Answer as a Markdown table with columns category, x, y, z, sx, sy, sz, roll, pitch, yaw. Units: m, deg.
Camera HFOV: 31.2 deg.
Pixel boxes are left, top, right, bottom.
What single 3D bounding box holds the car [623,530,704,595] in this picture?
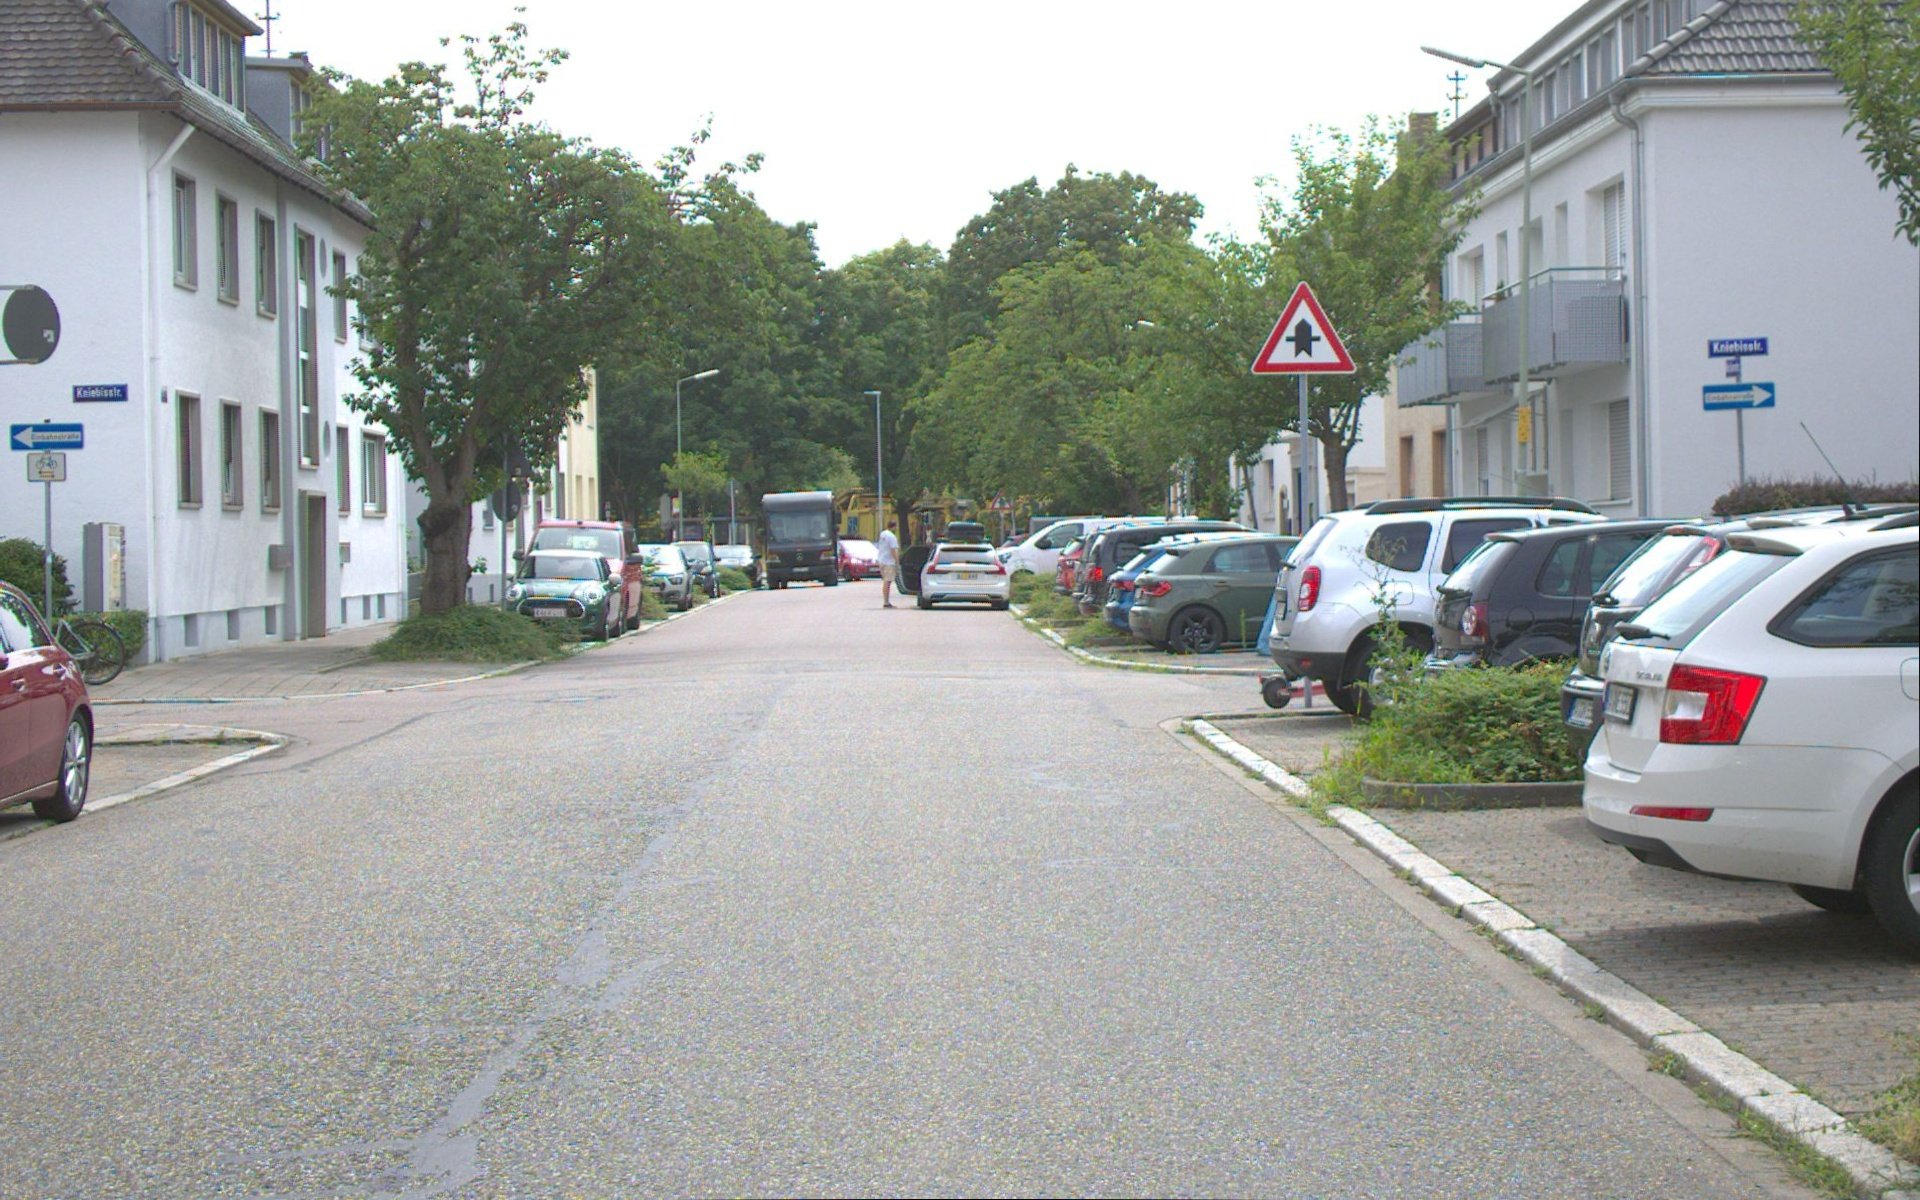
| category | x | y | z | sx | sy | sz | roll | pitch | yaw |
| --- | --- | --- | --- | --- | --- | --- | --- | --- | --- |
| car | -6.809 | -0.877 | 79.241 | 1.651 | 1.372 | 3.722 | -3 | 1 | -3 |

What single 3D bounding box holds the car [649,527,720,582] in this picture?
| category | x | y | z | sx | sy | sz | roll | pitch | yaw |
| --- | --- | --- | --- | --- | --- | --- | --- | --- | --- |
| car | -7.458 | -1.240 | 93.317 | 1.651 | 1.372 | 3.722 | -3 | 1 | -1 |

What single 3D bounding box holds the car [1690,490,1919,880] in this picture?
| category | x | y | z | sx | sy | sz | roll | pitch | yaw |
| --- | --- | --- | --- | --- | --- | --- | --- | --- | --- |
| car | 5.255 | 0.228 | 14.336 | 3.987 | 1.503 | 1.712 | -3 | 1 | 0 |

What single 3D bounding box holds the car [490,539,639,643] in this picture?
| category | x | y | z | sx | sy | sz | roll | pitch | yaw |
| --- | --- | --- | --- | --- | --- | --- | --- | --- | --- |
| car | -6.422 | -0.174 | 56.125 | 1.763 | 1.548 | 3.730 | -3 | 1 | 3 |

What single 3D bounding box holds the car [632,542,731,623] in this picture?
| category | x | y | z | sx | sy | sz | roll | pitch | yaw |
| --- | --- | --- | --- | --- | --- | --- | --- | --- | --- |
| car | -5.430 | -0.369 | 67.273 | 1.651 | 1.456 | 3.552 | -3 | 1 | -1 |

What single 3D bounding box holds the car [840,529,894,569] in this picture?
| category | x | y | z | sx | sy | sz | roll | pitch | yaw |
| --- | --- | --- | --- | --- | --- | --- | --- | --- | --- |
| car | -3.300 | -1.825 | 122.201 | 1.754 | 1.337 | 4.000 | -2 | 1 | 0 |

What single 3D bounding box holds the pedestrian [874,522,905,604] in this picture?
| category | x | y | z | sx | sy | sz | roll | pitch | yaw |
| --- | --- | --- | --- | --- | --- | --- | --- | --- | --- |
| pedestrian | -1.487 | -0.789 | 72.641 | 0.522 | 1.698 | 0.444 | -3 | 1 | 3 |

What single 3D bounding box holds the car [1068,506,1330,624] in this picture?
| category | x | y | z | sx | sy | sz | roll | pitch | yaw |
| --- | --- | --- | --- | --- | --- | --- | --- | --- | --- |
| car | 3.559 | -0.535 | 51.716 | 3.747 | 1.559 | 1.773 | -3 | 1 | 1 |

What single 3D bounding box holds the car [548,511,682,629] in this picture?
| category | x | y | z | sx | sy | sz | roll | pitch | yaw |
| --- | --- | --- | --- | --- | --- | --- | --- | --- | --- |
| car | -6.168 | -0.560 | 61.888 | 1.993 | 2.007 | 4.521 | -1 | 1 | -1 |

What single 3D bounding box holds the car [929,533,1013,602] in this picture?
| category | x | y | z | sx | sy | sz | roll | pitch | yaw |
| --- | --- | --- | --- | --- | --- | --- | --- | --- | --- |
| car | 0.251 | -0.709 | 73.344 | 1.687 | 1.349 | 3.826 | -3 | 1 | 1 |

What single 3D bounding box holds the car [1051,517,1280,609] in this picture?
| category | x | y | z | sx | sy | sz | roll | pitch | yaw |
| --- | --- | --- | --- | --- | --- | --- | --- | --- | --- |
| car | 3.720 | -0.679 | 62.658 | 3.987 | 1.434 | 1.723 | -3 | 1 | 0 |

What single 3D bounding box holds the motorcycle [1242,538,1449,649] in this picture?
| category | x | y | z | sx | sy | sz | roll | pitch | yaw |
| --- | --- | --- | --- | --- | --- | --- | --- | --- | --- |
| motorcycle | 4.341 | -0.080 | 38.856 | 2.193 | 1.206 | 0.940 | -1 | 1 | -2 |

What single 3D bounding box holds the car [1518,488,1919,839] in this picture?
| category | x | y | z | sx | sy | sz | roll | pitch | yaw |
| --- | --- | --- | --- | --- | --- | --- | --- | --- | --- |
| car | 4.832 | 0.208 | 16.406 | 3.987 | 1.503 | 1.712 | -3 | 1 | 0 |

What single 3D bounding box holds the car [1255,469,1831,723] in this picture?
| category | x | y | z | sx | sy | sz | roll | pitch | yaw |
| --- | --- | --- | --- | --- | --- | --- | --- | --- | --- |
| car | 4.281 | -0.048 | 25.706 | 3.924 | 1.627 | 1.868 | -3 | 1 | 1 |

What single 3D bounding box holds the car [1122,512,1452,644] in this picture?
| category | x | y | z | sx | sy | sz | roll | pitch | yaw |
| --- | --- | --- | --- | --- | --- | --- | --- | --- | --- |
| car | 3.890 | -0.273 | 41.319 | 3.747 | 1.361 | 1.773 | -3 | 1 | 1 |

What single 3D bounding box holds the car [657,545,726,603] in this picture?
| category | x | y | z | sx | sy | sz | roll | pitch | yaw |
| --- | --- | --- | --- | --- | --- | --- | --- | --- | --- |
| car | -6.570 | -0.647 | 84.309 | 1.538 | 1.297 | 3.722 | -3 | 1 | -3 |

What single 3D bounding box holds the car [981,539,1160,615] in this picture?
| category | x | y | z | sx | sy | sz | roll | pitch | yaw |
| --- | --- | --- | --- | --- | --- | --- | --- | --- | --- |
| car | 2.538 | -0.543 | 79.451 | 3.987 | 1.513 | 1.723 | -3 | 1 | 0 |

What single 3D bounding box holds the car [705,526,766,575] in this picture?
| category | x | y | z | sx | sy | sz | roll | pitch | yaw |
| --- | --- | --- | --- | --- | --- | --- | --- | --- | --- |
| car | -7.344 | -1.641 | 112.582 | 1.621 | 1.497 | 4.000 | -3 | 1 | 1 |

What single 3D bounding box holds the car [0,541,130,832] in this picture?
| category | x | y | z | sx | sy | sz | roll | pitch | yaw |
| --- | --- | --- | --- | --- | --- | --- | --- | --- | --- |
| car | -5.881 | 0.484 | 18.130 | 1.877 | 1.481 | 4.512 | -3 | 1 | -1 |

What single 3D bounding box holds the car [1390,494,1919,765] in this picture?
| category | x | y | z | sx | sy | sz | roll | pitch | yaw |
| --- | --- | --- | --- | --- | --- | --- | --- | --- | --- |
| car | 4.739 | 0.128 | 20.780 | 3.987 | 1.417 | 1.712 | -3 | 1 | 0 |

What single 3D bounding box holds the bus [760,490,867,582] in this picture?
| category | x | y | z | sx | sy | sz | roll | pitch | yaw |
| --- | --- | --- | --- | --- | --- | --- | --- | --- | --- |
| bus | -4.754 | -2.118 | 113.423 | 3.004 | 2.751 | 8.924 | -3 | 1 | 0 |

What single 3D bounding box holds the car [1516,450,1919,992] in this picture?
| category | x | y | z | sx | sy | sz | roll | pitch | yaw |
| --- | --- | --- | --- | --- | --- | --- | --- | --- | --- |
| car | 4.394 | 0.268 | 11.750 | 4.614 | 1.658 | 1.892 | -3 | 1 | 1 |

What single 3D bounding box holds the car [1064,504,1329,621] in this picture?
| category | x | y | z | sx | sy | sz | roll | pitch | yaw |
| --- | --- | --- | --- | --- | --- | --- | --- | --- | --- |
| car | 3.696 | -0.599 | 54.250 | 3.987 | 1.612 | 1.867 | -3 | 1 | 0 |

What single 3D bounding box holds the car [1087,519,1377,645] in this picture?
| category | x | y | z | sx | sy | sz | roll | pitch | yaw |
| --- | --- | --- | --- | --- | --- | --- | --- | --- | --- |
| car | 3.445 | -0.240 | 44.005 | 3.517 | 1.407 | 1.559 | -3 | 1 | 0 |

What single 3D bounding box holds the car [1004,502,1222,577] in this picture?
| category | x | y | z | sx | sy | sz | roll | pitch | yaw |
| --- | --- | --- | --- | --- | --- | --- | --- | --- | --- |
| car | 3.612 | -1.444 | 81.695 | 4.974 | 1.513 | 1.769 | -3 | 1 | -2 |

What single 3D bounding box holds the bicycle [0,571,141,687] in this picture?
| category | x | y | z | sx | sy | sz | roll | pitch | yaw |
| --- | --- | --- | --- | --- | --- | --- | --- | --- | --- |
| bicycle | -9.760 | 0.313 | 37.212 | 1.633 | 1.175 | 0.435 | -3 | 1 | -4 |
